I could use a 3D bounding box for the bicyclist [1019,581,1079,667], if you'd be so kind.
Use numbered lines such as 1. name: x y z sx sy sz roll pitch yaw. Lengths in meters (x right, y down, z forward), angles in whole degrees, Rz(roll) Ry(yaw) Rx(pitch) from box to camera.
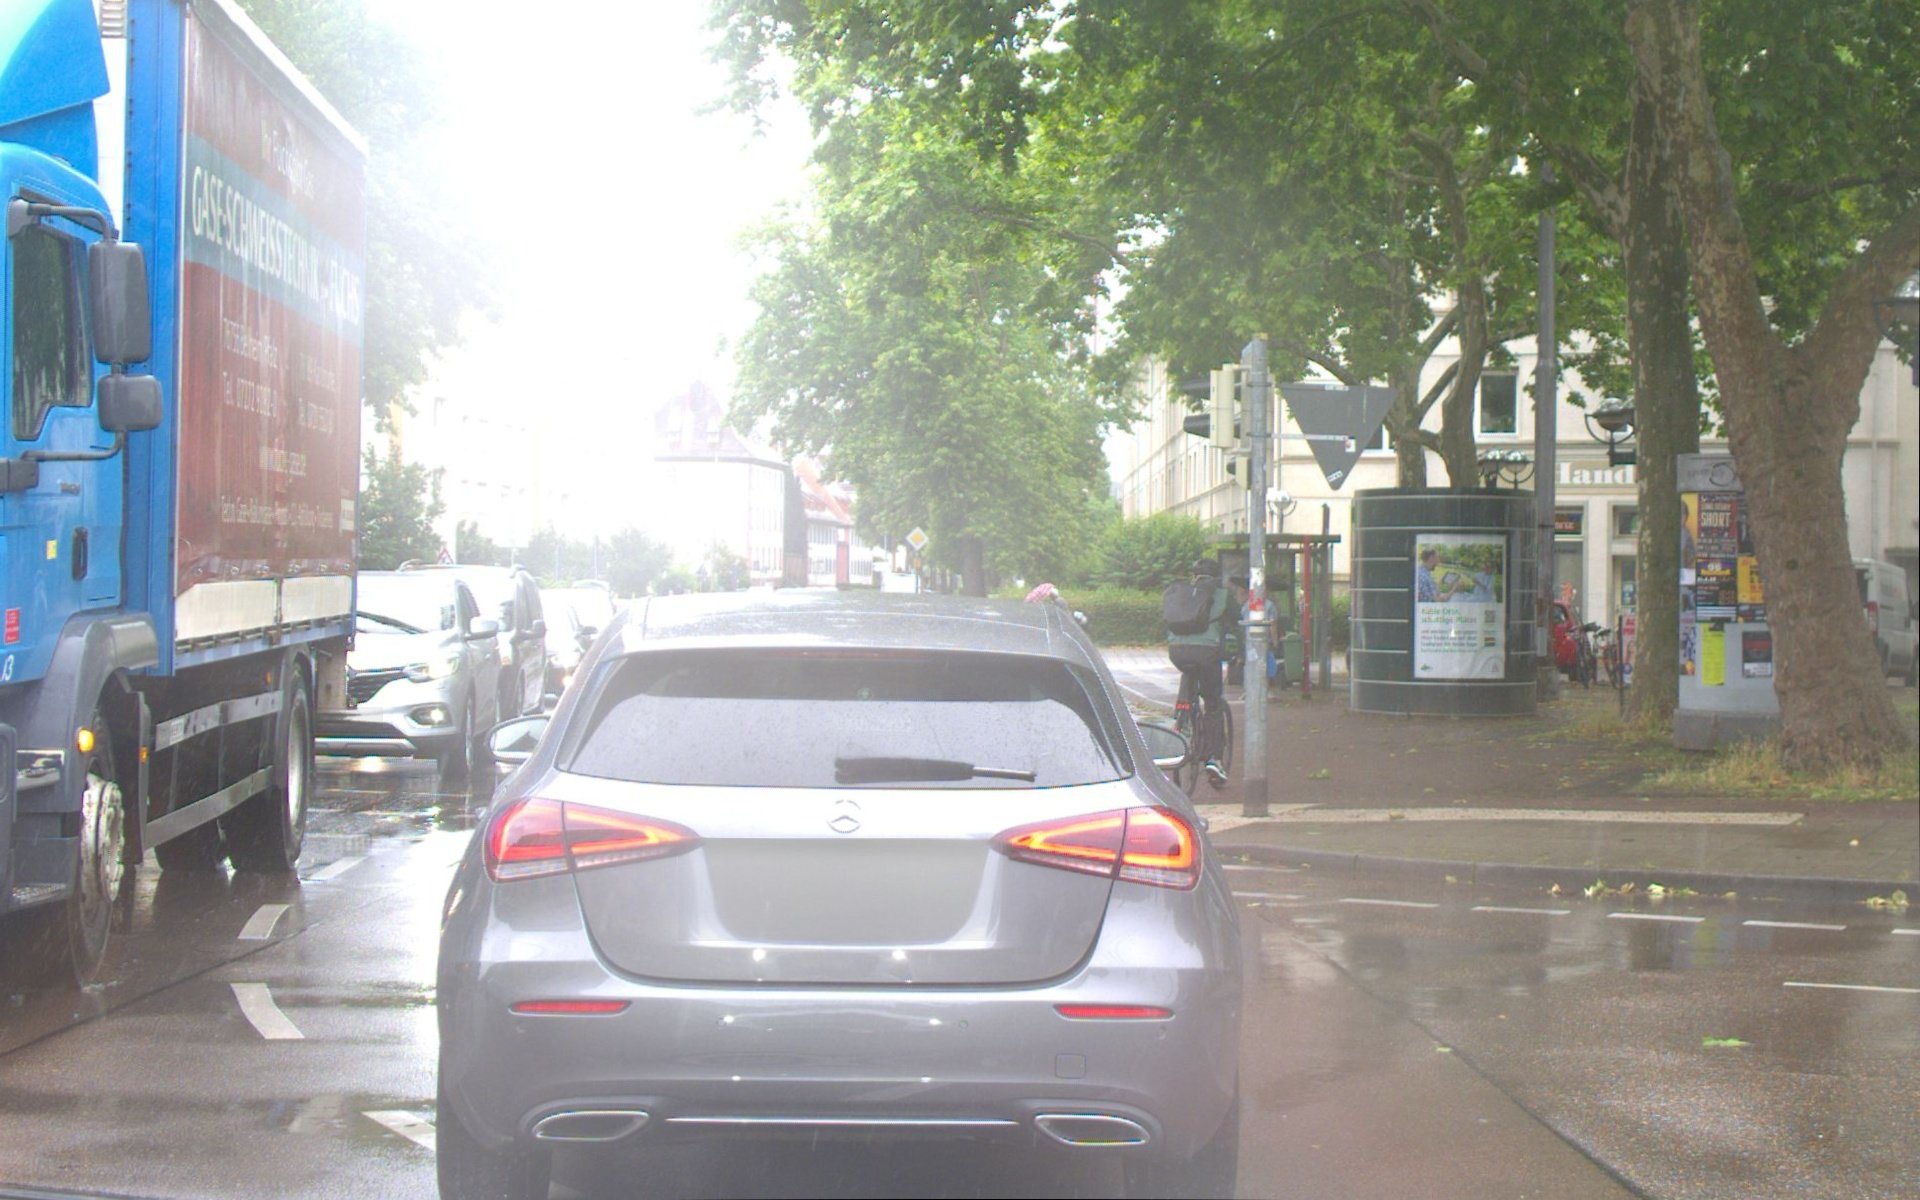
1. bicyclist: 1.962 0.533 75.976 0.938 1.862 1.143 1 -2 -21

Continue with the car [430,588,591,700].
1. car: -6.002 0.583 46.305 1.742 1.385 4.363 2 -1 -2

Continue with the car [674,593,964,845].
1. car: -0.879 0.653 21.053 1.607 1.368 4.000 0 0 -3

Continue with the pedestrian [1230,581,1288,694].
1. pedestrian: 4.431 0.552 50.998 0.716 1.663 0.665 1 0 -5

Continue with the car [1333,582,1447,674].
1. car: 7.813 0.529 62.227 1.689 1.546 3.520 1 -2 13

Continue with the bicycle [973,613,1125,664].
1. bicycle: 1.976 0.861 76.028 3.205 1.108 1.054 0 -2 -21

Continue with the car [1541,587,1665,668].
1. car: 11.511 0.511 61.405 1.584 1.332 3.258 0 -2 21

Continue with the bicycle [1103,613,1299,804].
1. bicycle: 1.897 0.801 26.611 0.750 1.372 2.704 0 0 21

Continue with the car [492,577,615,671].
1. car: -6.829 0.383 58.060 1.845 1.505 4.056 1 0 -4

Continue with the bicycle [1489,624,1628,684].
1. bicycle: 10.152 0.907 58.324 2.249 0.965 0.584 1 0 21

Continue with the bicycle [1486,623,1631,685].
1. bicycle: 9.872 0.888 56.751 2.284 0.979 0.545 1 0 21

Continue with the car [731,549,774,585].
1. car: -10.728 -1.705 177.933 1.889 1.830 4.000 1 0 1

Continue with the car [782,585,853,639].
1. car: -4.245 0.353 102.200 1.993 1.568 4.000 1 0 -4

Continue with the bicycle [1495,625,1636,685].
1. bicycle: 10.128 0.913 57.514 2.254 0.965 0.534 1 0 21

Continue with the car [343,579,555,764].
1. car: -5.412 0.715 36.870 1.806 1.855 4.110 1 0 -2

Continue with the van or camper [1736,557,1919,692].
1. van or camper: 15.365 0.413 60.119 2.399 2.224 5.422 1 0 25

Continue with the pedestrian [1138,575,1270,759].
1. pedestrian: 1.893 0.502 26.603 0.745 1.393 1.046 0 0 21

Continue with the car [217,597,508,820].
1. car: -4.644 0.797 27.212 1.742 1.598 4.000 1 0 -2

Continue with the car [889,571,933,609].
1. car: -2.414 -0.475 170.629 2.046 1.830 4.792 1 0 1

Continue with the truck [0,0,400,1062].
1. truck: -4.471 -0.663 15.329 2.845 4.012 10.317 0 0 -3

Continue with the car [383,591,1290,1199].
1. car: -0.335 0.703 8.699 1.791 1.368 3.507 2 0 -3
